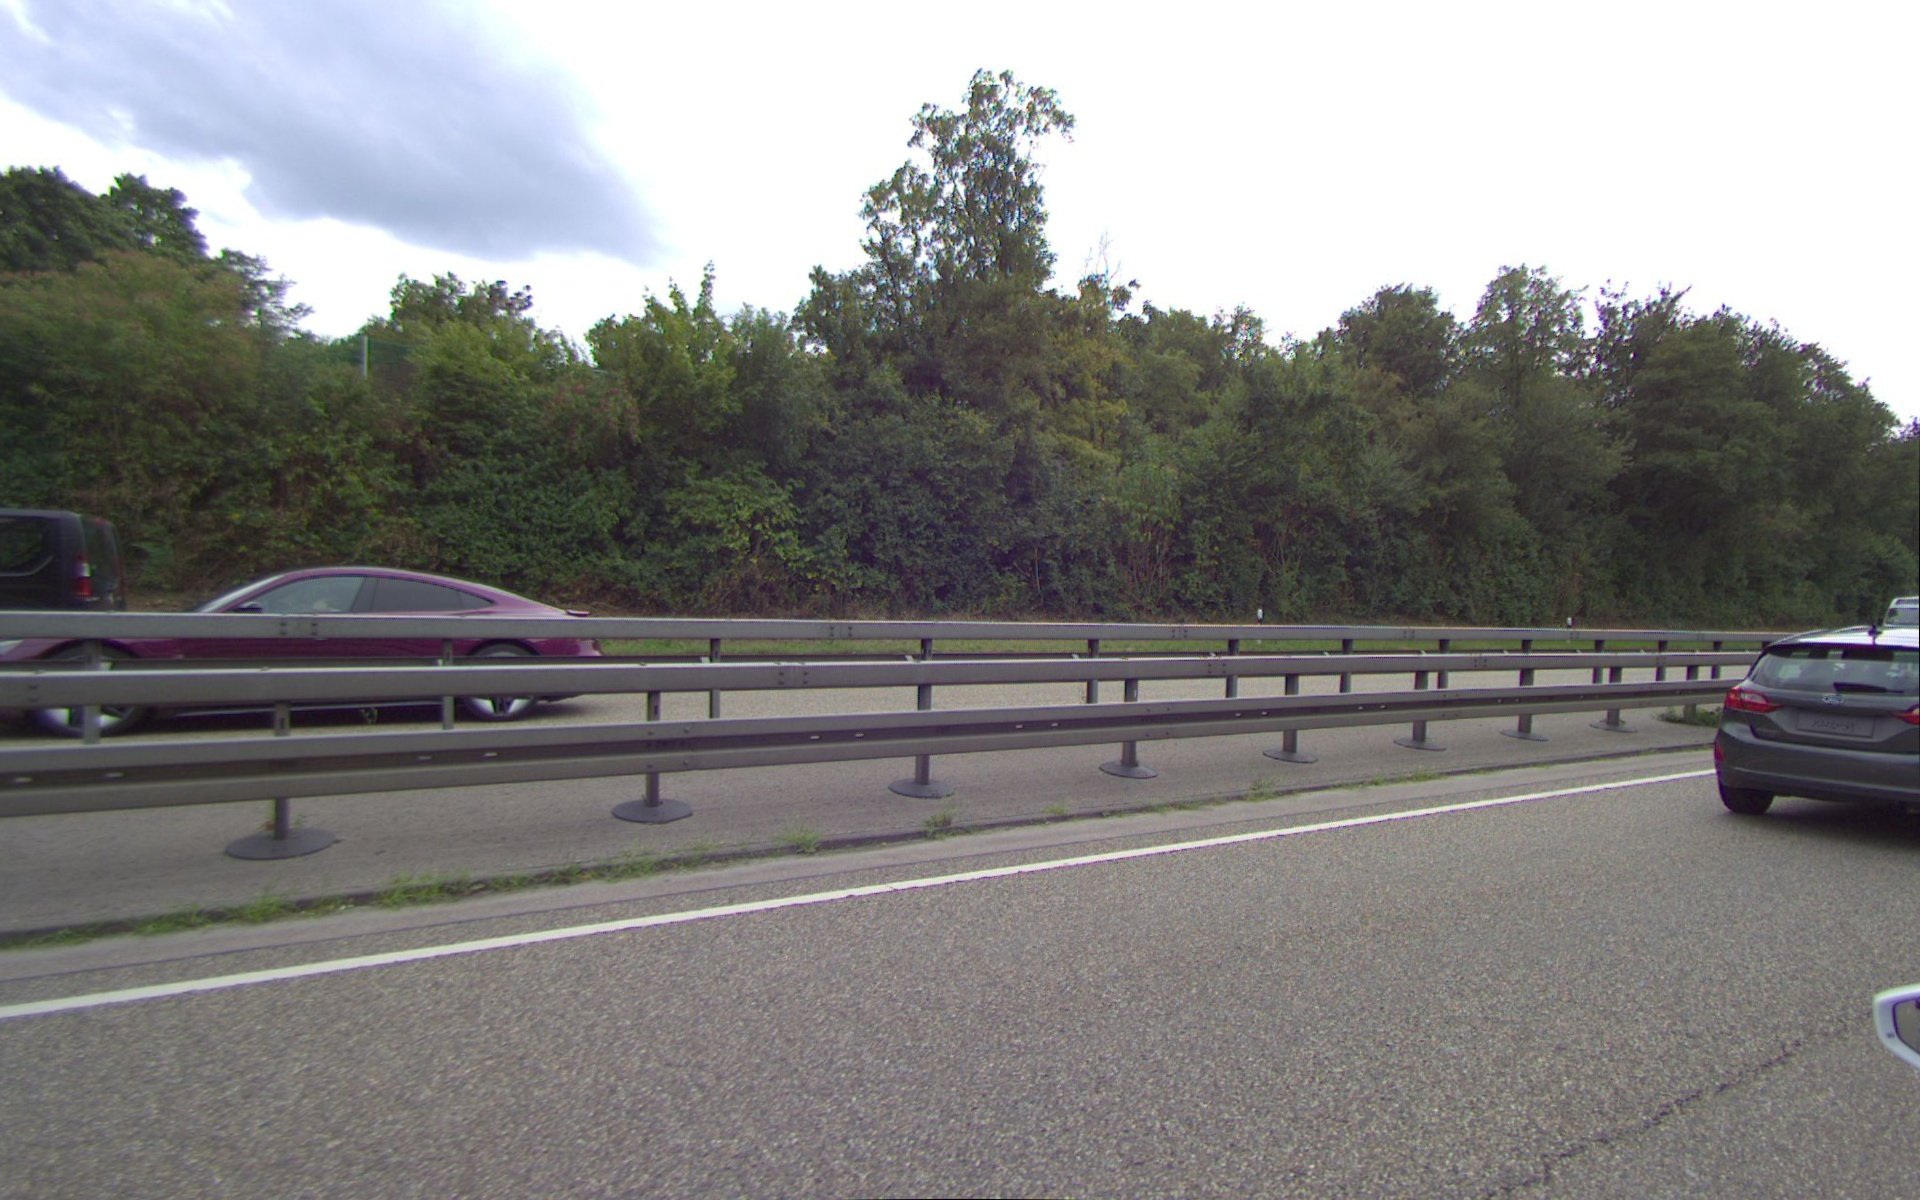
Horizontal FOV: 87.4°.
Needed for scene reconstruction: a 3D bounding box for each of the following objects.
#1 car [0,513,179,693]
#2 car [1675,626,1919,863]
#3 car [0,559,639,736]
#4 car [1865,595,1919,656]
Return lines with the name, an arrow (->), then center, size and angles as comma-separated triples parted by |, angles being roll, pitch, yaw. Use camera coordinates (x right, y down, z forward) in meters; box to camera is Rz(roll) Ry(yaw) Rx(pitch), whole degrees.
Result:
car -> -11.440, -0.004, 10.356 | 5.063, 1.828, 2.025 | 2, -1, -30
car -> 7.794, 0.991, 8.009 | 4.588, 1.477, 1.816 | 2, -1, -32
car -> -5.510, 0.404, 9.195 | 4.658, 1.295, 1.647 | 2, -1, -30
car -> 43.182, 1.170, 45.157 | 5.492, 2.645, 2.299 | 2, -1, -32
